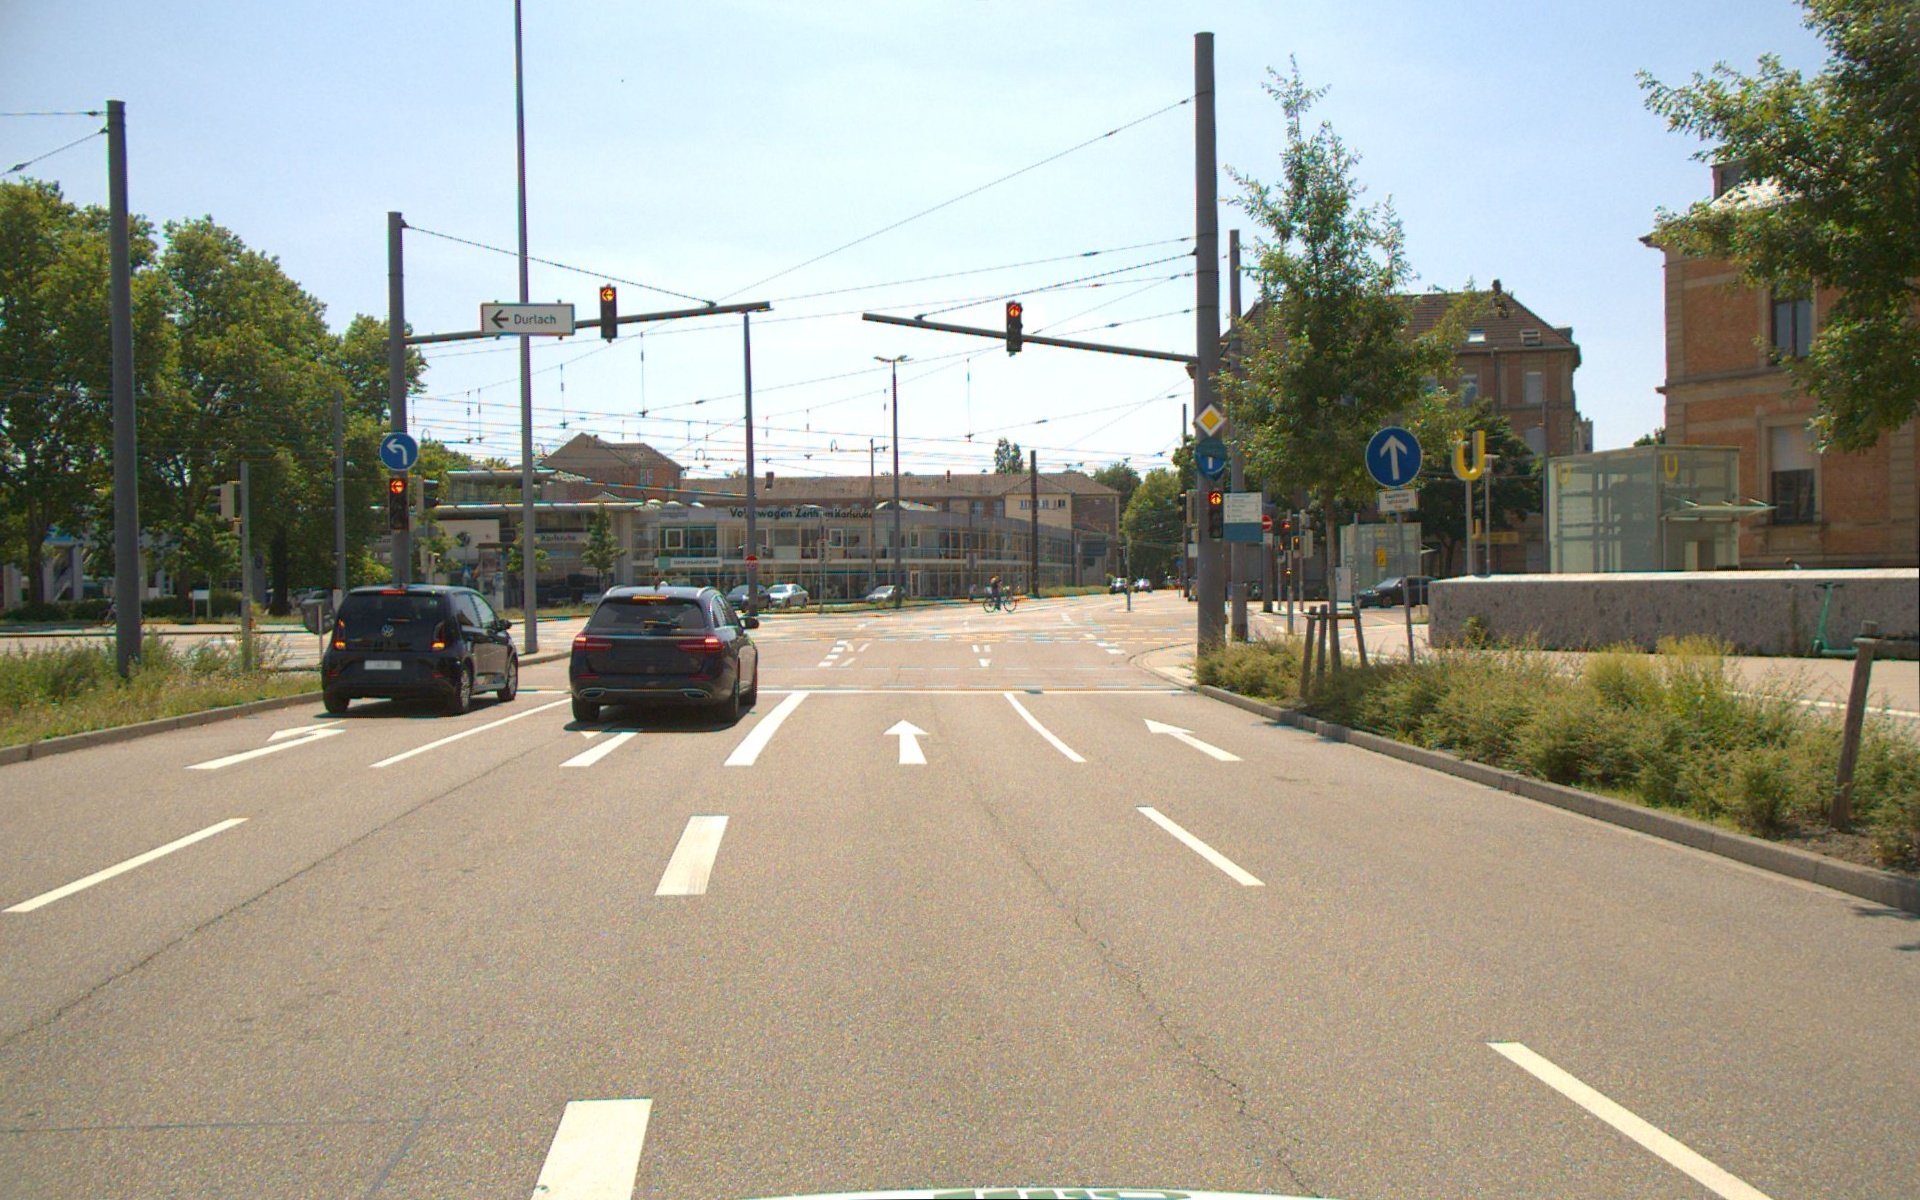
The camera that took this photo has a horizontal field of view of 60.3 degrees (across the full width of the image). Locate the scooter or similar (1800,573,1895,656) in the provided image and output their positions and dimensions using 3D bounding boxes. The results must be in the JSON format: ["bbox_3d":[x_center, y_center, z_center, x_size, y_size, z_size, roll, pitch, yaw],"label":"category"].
[{"bbox_3d":[13.513,0.204,25.212,0.391,1.187,1.280,-1,2,-24],"label":"scooter or similar"}]

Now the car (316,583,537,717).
[{"bbox_3d":[-6.498,0.546,20.560,1.588,1.489,3.998,0,0,-2],"label":"car"}]

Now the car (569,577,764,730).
[{"bbox_3d":[-3.345,0.548,19.633,1.682,1.584,4.584,-1,0,-3],"label":"car"}]

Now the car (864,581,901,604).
[{"bbox_3d":[-5.260,-0.541,112.938,1.537,1.452,3.617,1,2,15],"label":"car"}]

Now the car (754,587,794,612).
[{"bbox_3d":[-10.690,-0.027,95.268,1.401,1.308,3.265,0,2,10],"label":"car"}]

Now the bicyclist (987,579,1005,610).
[{"bbox_3d":[1.764,-0.284,81.003,0.721,1.505,0.652,-1,2,-21],"label":"bicyclist"}]

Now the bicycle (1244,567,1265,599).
[{"bbox_3d":[17.817,-1.027,100.121,0.599,1.819,3.181,0,2,-2],"label":"bicycle"}]

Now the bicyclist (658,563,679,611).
[{"bbox_3d":[-11.997,-0.546,68.073,0.748,1.971,0.659,0,2,-4],"label":"bicyclist"}]

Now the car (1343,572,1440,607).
[{"bbox_3d":[19.439,-0.500,74.580,4.044,1.476,1.687,-1,2,-22],"label":"car"}]

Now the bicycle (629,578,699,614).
[{"bbox_3d":[-12.161,-0.168,68.052,2.770,1.488,0.633,0,2,-5],"label":"bicycle"}]

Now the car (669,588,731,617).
[{"bbox_3d":[-13.094,0.112,83.641,1.585,1.414,4.128,-1,0,14],"label":"car"}]

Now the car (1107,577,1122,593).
[{"bbox_3d":[15.576,-1.483,166.795,1.498,1.484,3.555,0,2,5],"label":"car"}]

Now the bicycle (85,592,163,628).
[{"bbox_3d":[-33.791,0.394,66.899,2.724,1.409,0.669,0,2,-10],"label":"bicycle"}]

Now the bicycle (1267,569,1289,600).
[{"bbox_3d":[19.224,-0.946,100.103,0.599,1.819,3.181,0,2,-2],"label":"bicycle"}]

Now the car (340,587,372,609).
[{"bbox_3d":[-43.498,-0.150,119.188,1.481,1.443,3.415,0,2,-8],"label":"car"}]

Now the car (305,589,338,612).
[{"bbox_3d":[-45.861,0.012,118.826,1.398,1.534,3.432,0,2,-8],"label":"car"}]

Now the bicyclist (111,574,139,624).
[{"bbox_3d":[-33.782,-0.055,66.884,0.830,1.999,0.625,0,2,-10],"label":"bicyclist"}]

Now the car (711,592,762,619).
[{"bbox_3d":[-12.034,0.261,89.315,1.505,1.300,3.542,1,2,14],"label":"car"}]

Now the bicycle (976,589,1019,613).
[{"bbox_3d":[1.841,0.045,81.035,2.129,1.126,0.454,-1,2,-21],"label":"bicycle"}]
